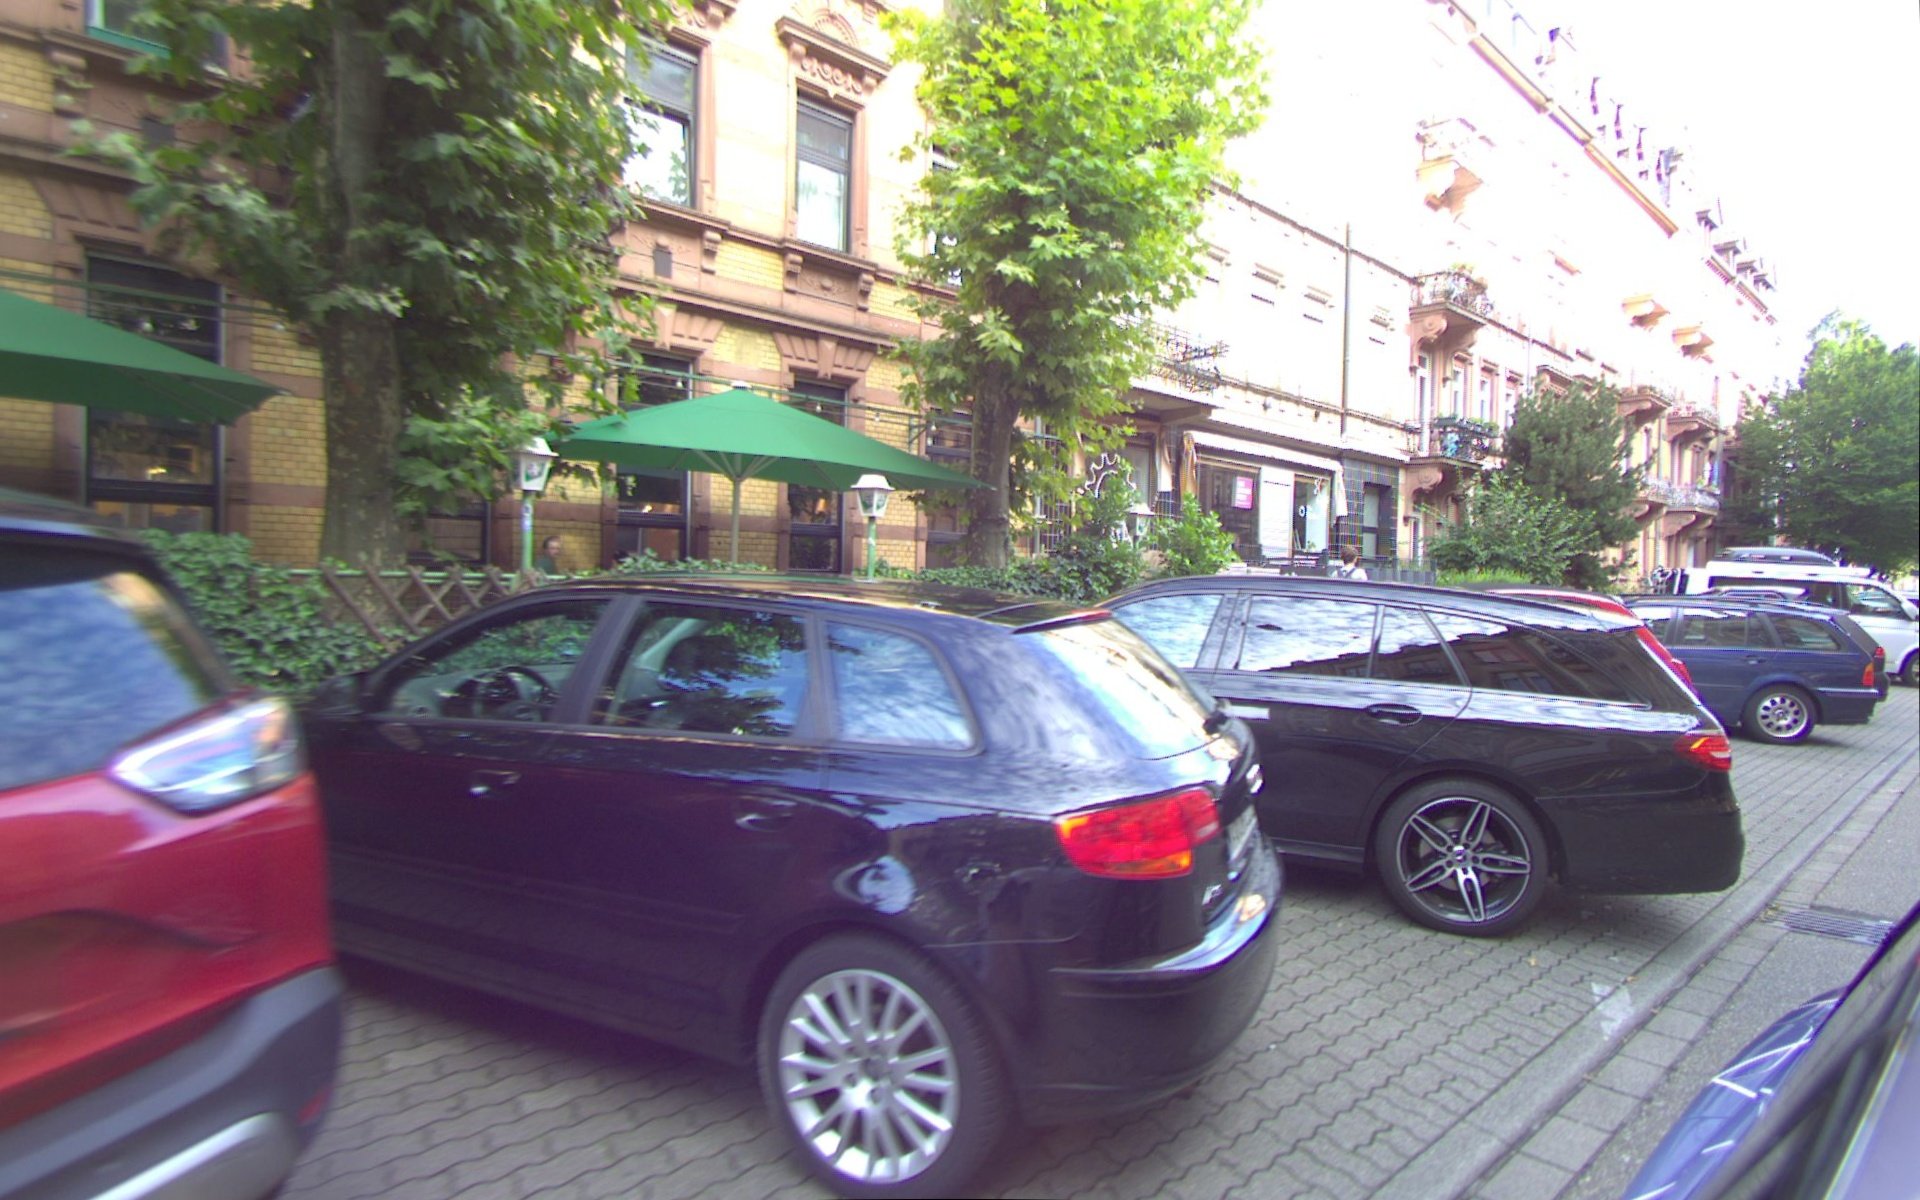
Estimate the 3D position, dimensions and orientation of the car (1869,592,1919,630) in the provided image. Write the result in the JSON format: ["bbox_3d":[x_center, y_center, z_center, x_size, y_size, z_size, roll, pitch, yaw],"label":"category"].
[{"bbox_3d":[40.340,0.535,41.180,4.550,1.469,1.784,3,2,17],"label":"car"}]

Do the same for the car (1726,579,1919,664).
[{"bbox_3d":[20.075,0.463,22.491,4.392,1.754,1.991,1,0,14],"label":"car"}]

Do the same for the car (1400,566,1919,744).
[{"bbox_3d":[7.492,0.500,11.268,4.405,1.482,1.871,4,2,15],"label":"car"}]

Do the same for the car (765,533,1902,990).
[{"bbox_3d":[1.539,0.527,5.500,4.712,1.475,2.042,4,1,21],"label":"car"}]

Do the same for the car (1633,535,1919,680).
[{"bbox_3d":[15.831,0.097,18.803,5.088,2.435,1.909,2,2,16],"label":"car"}]

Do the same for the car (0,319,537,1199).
[{"bbox_3d":[-3.156,0.357,1.953,4.307,1.665,1.807,4,2,23],"label":"car"}]

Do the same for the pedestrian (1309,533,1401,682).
[{"bbox_3d":[5.234,0.085,13.416,0.709,1.901,0.842,1,1,-37],"label":"pedestrian"}]

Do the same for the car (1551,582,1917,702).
[{"bbox_3d":[11.419,0.567,15.195,3.927,1.477,1.747,3,2,8],"label":"car"}]

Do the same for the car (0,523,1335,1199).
[{"bbox_3d":[-1.068,0.521,3.592,4.368,1.475,1.927,2,1,25],"label":"car"}]

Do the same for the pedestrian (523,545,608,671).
[{"bbox_3d":[-4.076,0.070,10.458,0.486,1.234,0.640,5,3,40],"label":"pedestrian"}]

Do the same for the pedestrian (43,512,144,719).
[{"bbox_3d":[-7.016,0.106,8.191,0.628,1.589,0.561,2,1,45],"label":"pedestrian"}]

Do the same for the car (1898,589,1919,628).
[{"bbox_3d":[44.961,0.446,45.270,3.941,1.720,1.844,2,1,14],"label":"car"}]

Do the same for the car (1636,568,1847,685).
[{"bbox_3d":[13.178,0.400,17.222,2.441,1.687,1.337,5,2,23],"label":"car"}]

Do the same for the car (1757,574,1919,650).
[{"bbox_3d":[25.229,0.362,28.042,1.779,1.807,4.646,3,2,-42],"label":"car"}]

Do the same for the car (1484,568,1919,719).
[{"bbox_3d":[9.587,0.489,13.208,4.397,1.495,1.885,4,2,9],"label":"car"}]

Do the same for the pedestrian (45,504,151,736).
[{"bbox_3d":[-6.569,0.125,7.707,0.646,1.662,0.554,5,4,45],"label":"pedestrian"}]

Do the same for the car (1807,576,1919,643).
[{"bbox_3d":[28.702,0.326,30.529,4.345,1.844,1.746,3,3,17],"label":"car"}]

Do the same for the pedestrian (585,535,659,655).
[{"bbox_3d":[-3.627,-0.062,10.870,0.464,1.234,0.555,5,3,39],"label":"pedestrian"}]

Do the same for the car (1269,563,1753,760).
[{"bbox_3d":[5.036,0.490,9.785,3.661,1.503,1.736,3,1,11],"label":"car"}]
